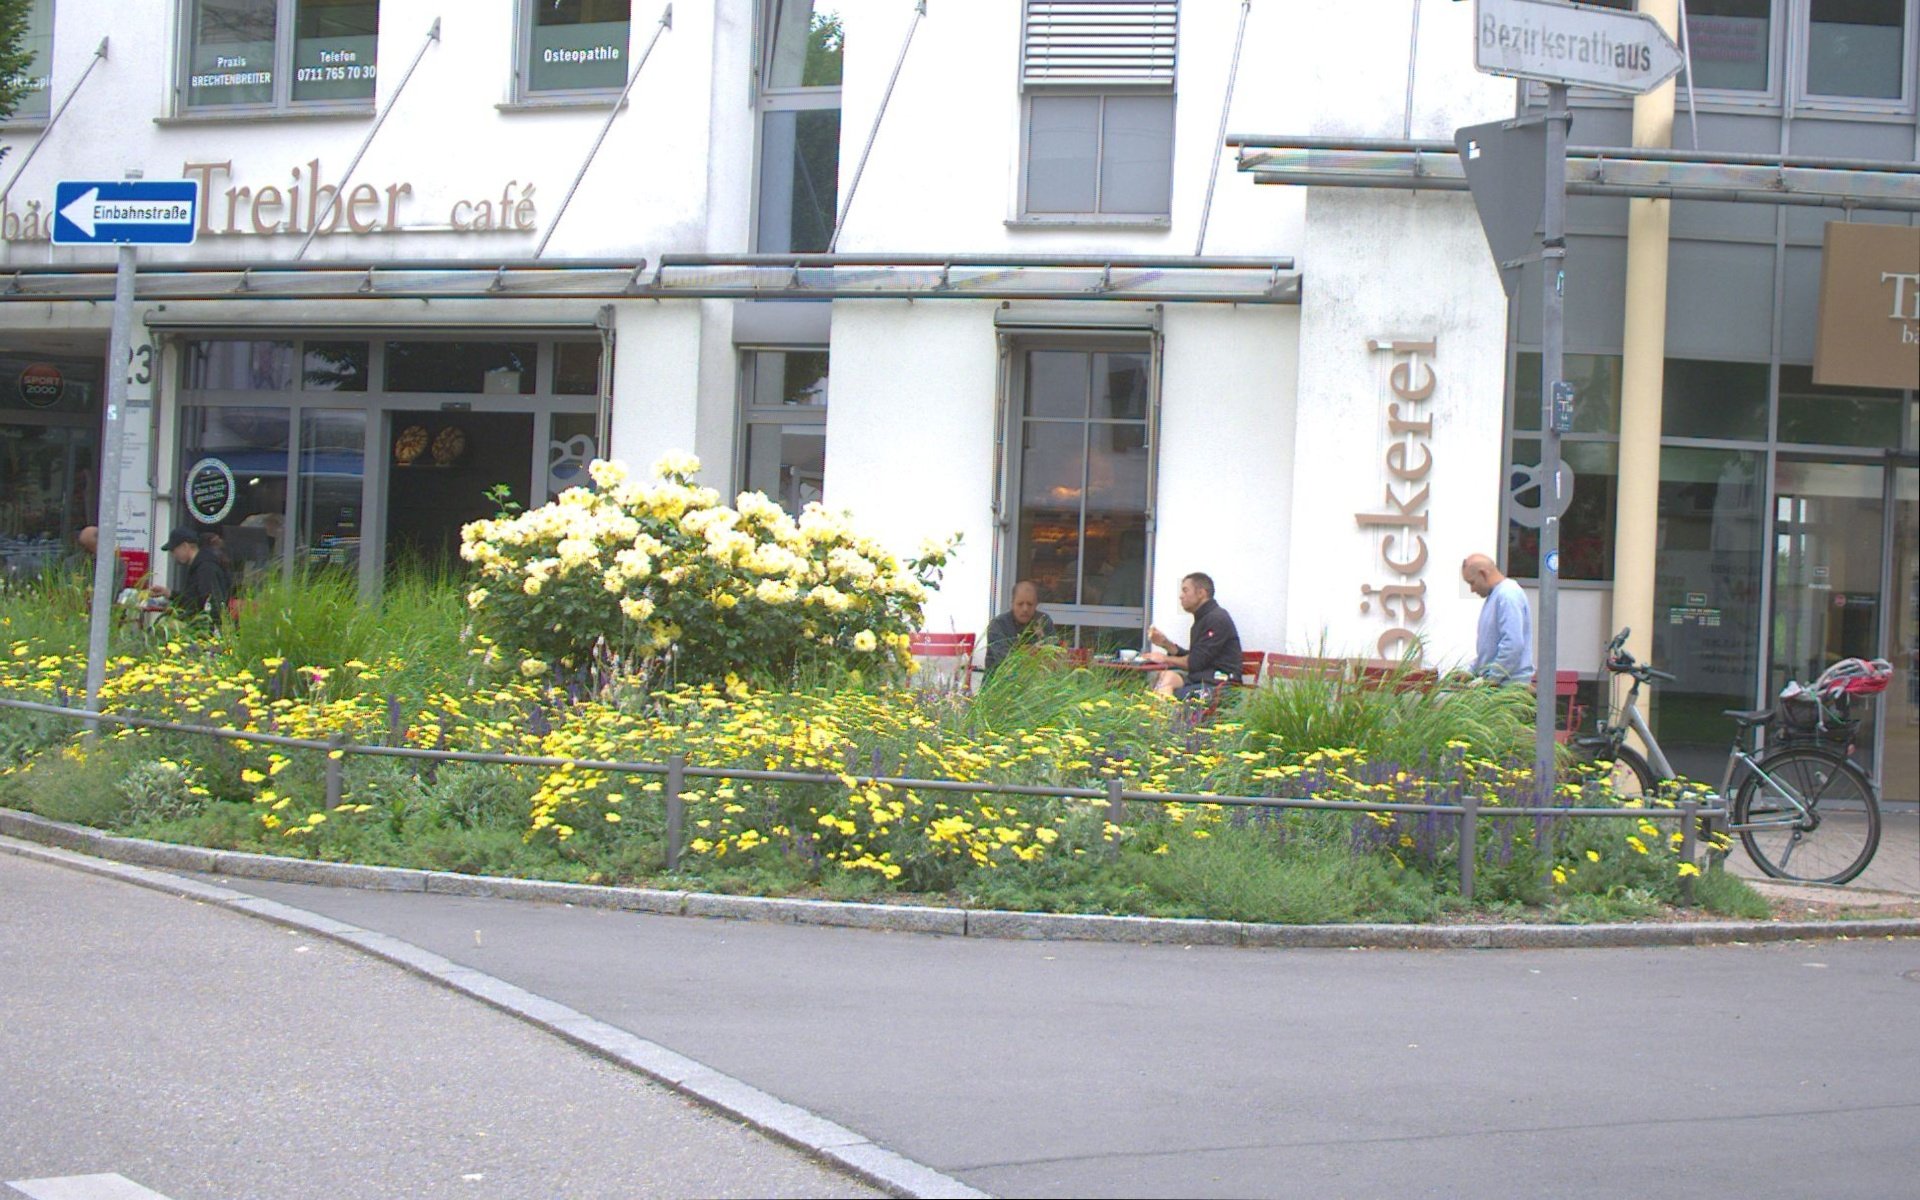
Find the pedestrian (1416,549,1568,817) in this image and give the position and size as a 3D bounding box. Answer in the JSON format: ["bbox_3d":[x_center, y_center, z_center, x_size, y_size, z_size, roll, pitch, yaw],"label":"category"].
[{"bbox_3d":[3.150,0.472,20.311,0.701,1.520,0.867,3,1,17],"label":"pedestrian"}]

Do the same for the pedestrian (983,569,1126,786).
[{"bbox_3d":[0.608,0.483,21.967,0.701,1.327,0.684,3,1,17],"label":"pedestrian"}]

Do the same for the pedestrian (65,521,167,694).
[{"bbox_3d":[-6.332,0.054,25.794,0.491,1.267,0.501,3,1,30],"label":"pedestrian"}]

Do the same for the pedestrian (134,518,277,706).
[{"bbox_3d":[-5.504,0.093,25.099,0.567,1.313,0.763,3,-1,30],"label":"pedestrian"}]

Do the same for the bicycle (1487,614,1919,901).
[{"bbox_3d":[3.706,0.745,16.995,1.977,1.235,0.743,4,2,29],"label":"bicycle"}]

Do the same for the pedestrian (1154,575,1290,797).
[{"bbox_3d":[1.645,0.526,21.545,0.655,1.337,0.695,3,1,17],"label":"pedestrian"}]
